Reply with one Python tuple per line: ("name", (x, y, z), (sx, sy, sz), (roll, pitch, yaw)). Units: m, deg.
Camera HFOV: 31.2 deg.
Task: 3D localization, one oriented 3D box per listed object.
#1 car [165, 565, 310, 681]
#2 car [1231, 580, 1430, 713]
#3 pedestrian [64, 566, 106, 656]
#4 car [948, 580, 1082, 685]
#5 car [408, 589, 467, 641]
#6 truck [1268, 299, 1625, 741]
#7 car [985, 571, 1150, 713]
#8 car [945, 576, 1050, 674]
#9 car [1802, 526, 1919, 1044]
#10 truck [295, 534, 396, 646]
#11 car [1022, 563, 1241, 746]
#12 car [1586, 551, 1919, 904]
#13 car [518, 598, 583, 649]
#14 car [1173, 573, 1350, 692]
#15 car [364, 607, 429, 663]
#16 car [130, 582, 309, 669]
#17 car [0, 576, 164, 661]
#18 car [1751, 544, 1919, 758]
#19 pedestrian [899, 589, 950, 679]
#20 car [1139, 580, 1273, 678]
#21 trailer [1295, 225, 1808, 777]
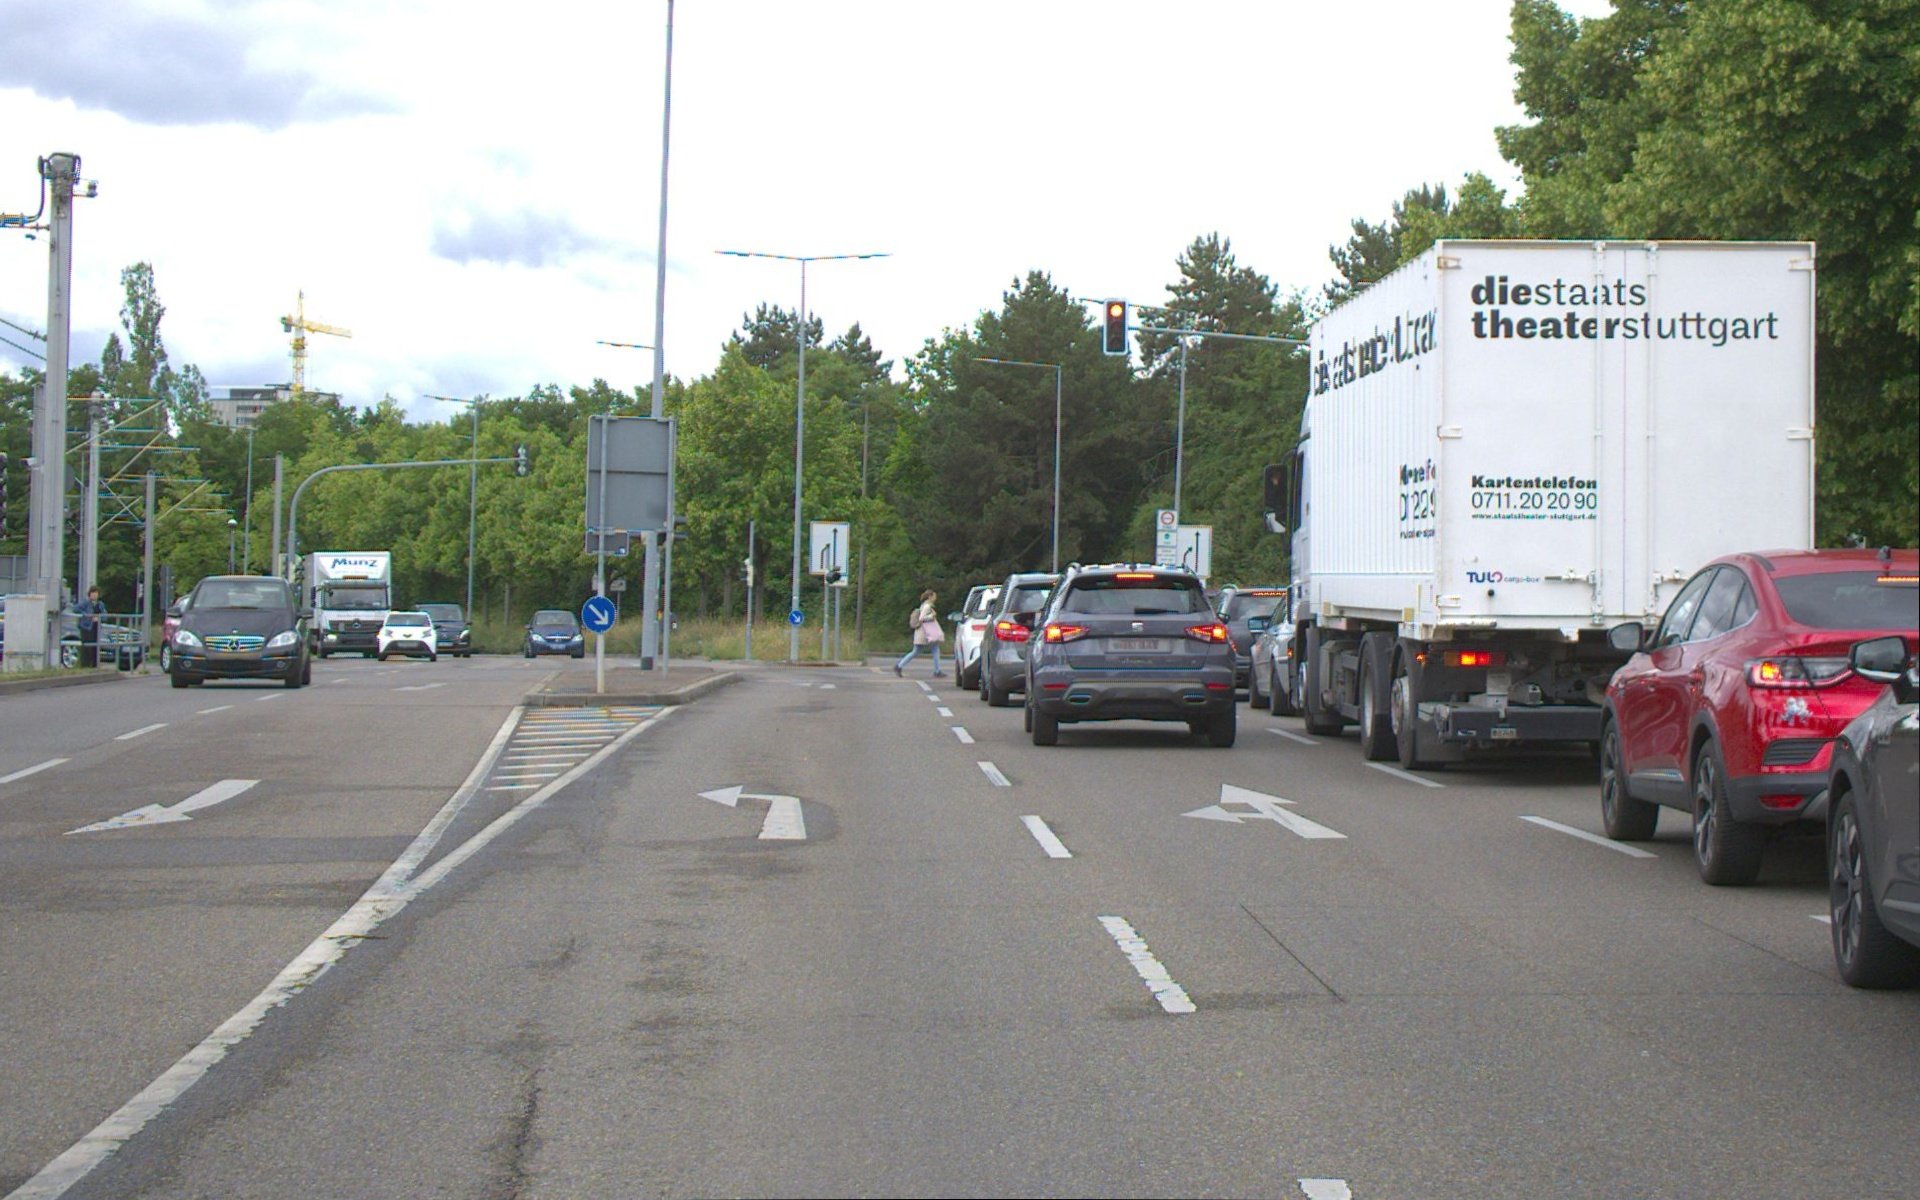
("car", (-10.200, 0.320, 48.739), (1.725, 1.568, 3.708), (1, 0, -8))
("car", (3.956, 0.459, 37.249), (1.812, 1.349, 4.118), (0, 0, 1))
("pedestrian", (-15.548, 0.190, 61.079), (0.353, 1.551, 0.652), (2, 3, 33))
("car", (0.742, 0.450, 49.074), (1.721, 1.417, 4.357), (0, 0, -2))
("car", (-18.128, 0.515, 119.218), (1.915, 1.722, 4.001), (0, 1, -10))
("truck", (4.267, -0.674, 30.878), (2.571, 3.693, 4.106), (0, 0, -1))
("car", (1.198, 0.443, 39.958), (1.799, 1.518, 4.187), (0, 1, 0))
("car", (0.570, 0.390, 54.047), (1.535, 1.499, 2.670), (0, 0, -2))
("car", (3.820, 0.550, 10.454), (1.845, 1.556, 4.403), (0, 1, 6))
("truck", (-21.098, -0.385, 117.712), (2.659, 3.637, 9.505), (2, 0, -14))
("car", (1.434, 0.440, 30.032), (1.698, 1.481, 4.000), (0, 0, 0))
("car", (4.293, 0.530, 17.009), (1.707, 1.519, 4.319), (0, 1, 2))
("car", (-13.479, 0.746, 113.013), (1.915, 1.571, 4.001), (0, 1, -10))
("car", (3.771, 0.403, 43.660), (1.825, 1.430, 4.213), (0, 0, -1))
("car", (-16.974, 1.030, 103.398), (1.775, 1.503, 3.748), (2, 1, -11))
("car", (-14.142, 0.463, 65.515), (1.703, 1.483, 4.086), (-1, 2, -38))
("car", (-18.428, 0.353, 69.783), (3.988, 1.590, 2.000), (1, 3, 8))
("car", (7.526, 0.383, 27.410), (1.570, 1.565, 3.060), (2, 1, -2))
("pedestrian", (-0.629, 0.598, 60.760), (0.864, 1.555, 0.518), (0, 3, -3))
("car", (3.623, 0.434, 51.206), (1.545, 1.399, 4.000), (0, 0, -2))
("trailer", (4.347, -0.677, 26.934), (2.565, 3.693, 7.764), (0, 0, -1))
